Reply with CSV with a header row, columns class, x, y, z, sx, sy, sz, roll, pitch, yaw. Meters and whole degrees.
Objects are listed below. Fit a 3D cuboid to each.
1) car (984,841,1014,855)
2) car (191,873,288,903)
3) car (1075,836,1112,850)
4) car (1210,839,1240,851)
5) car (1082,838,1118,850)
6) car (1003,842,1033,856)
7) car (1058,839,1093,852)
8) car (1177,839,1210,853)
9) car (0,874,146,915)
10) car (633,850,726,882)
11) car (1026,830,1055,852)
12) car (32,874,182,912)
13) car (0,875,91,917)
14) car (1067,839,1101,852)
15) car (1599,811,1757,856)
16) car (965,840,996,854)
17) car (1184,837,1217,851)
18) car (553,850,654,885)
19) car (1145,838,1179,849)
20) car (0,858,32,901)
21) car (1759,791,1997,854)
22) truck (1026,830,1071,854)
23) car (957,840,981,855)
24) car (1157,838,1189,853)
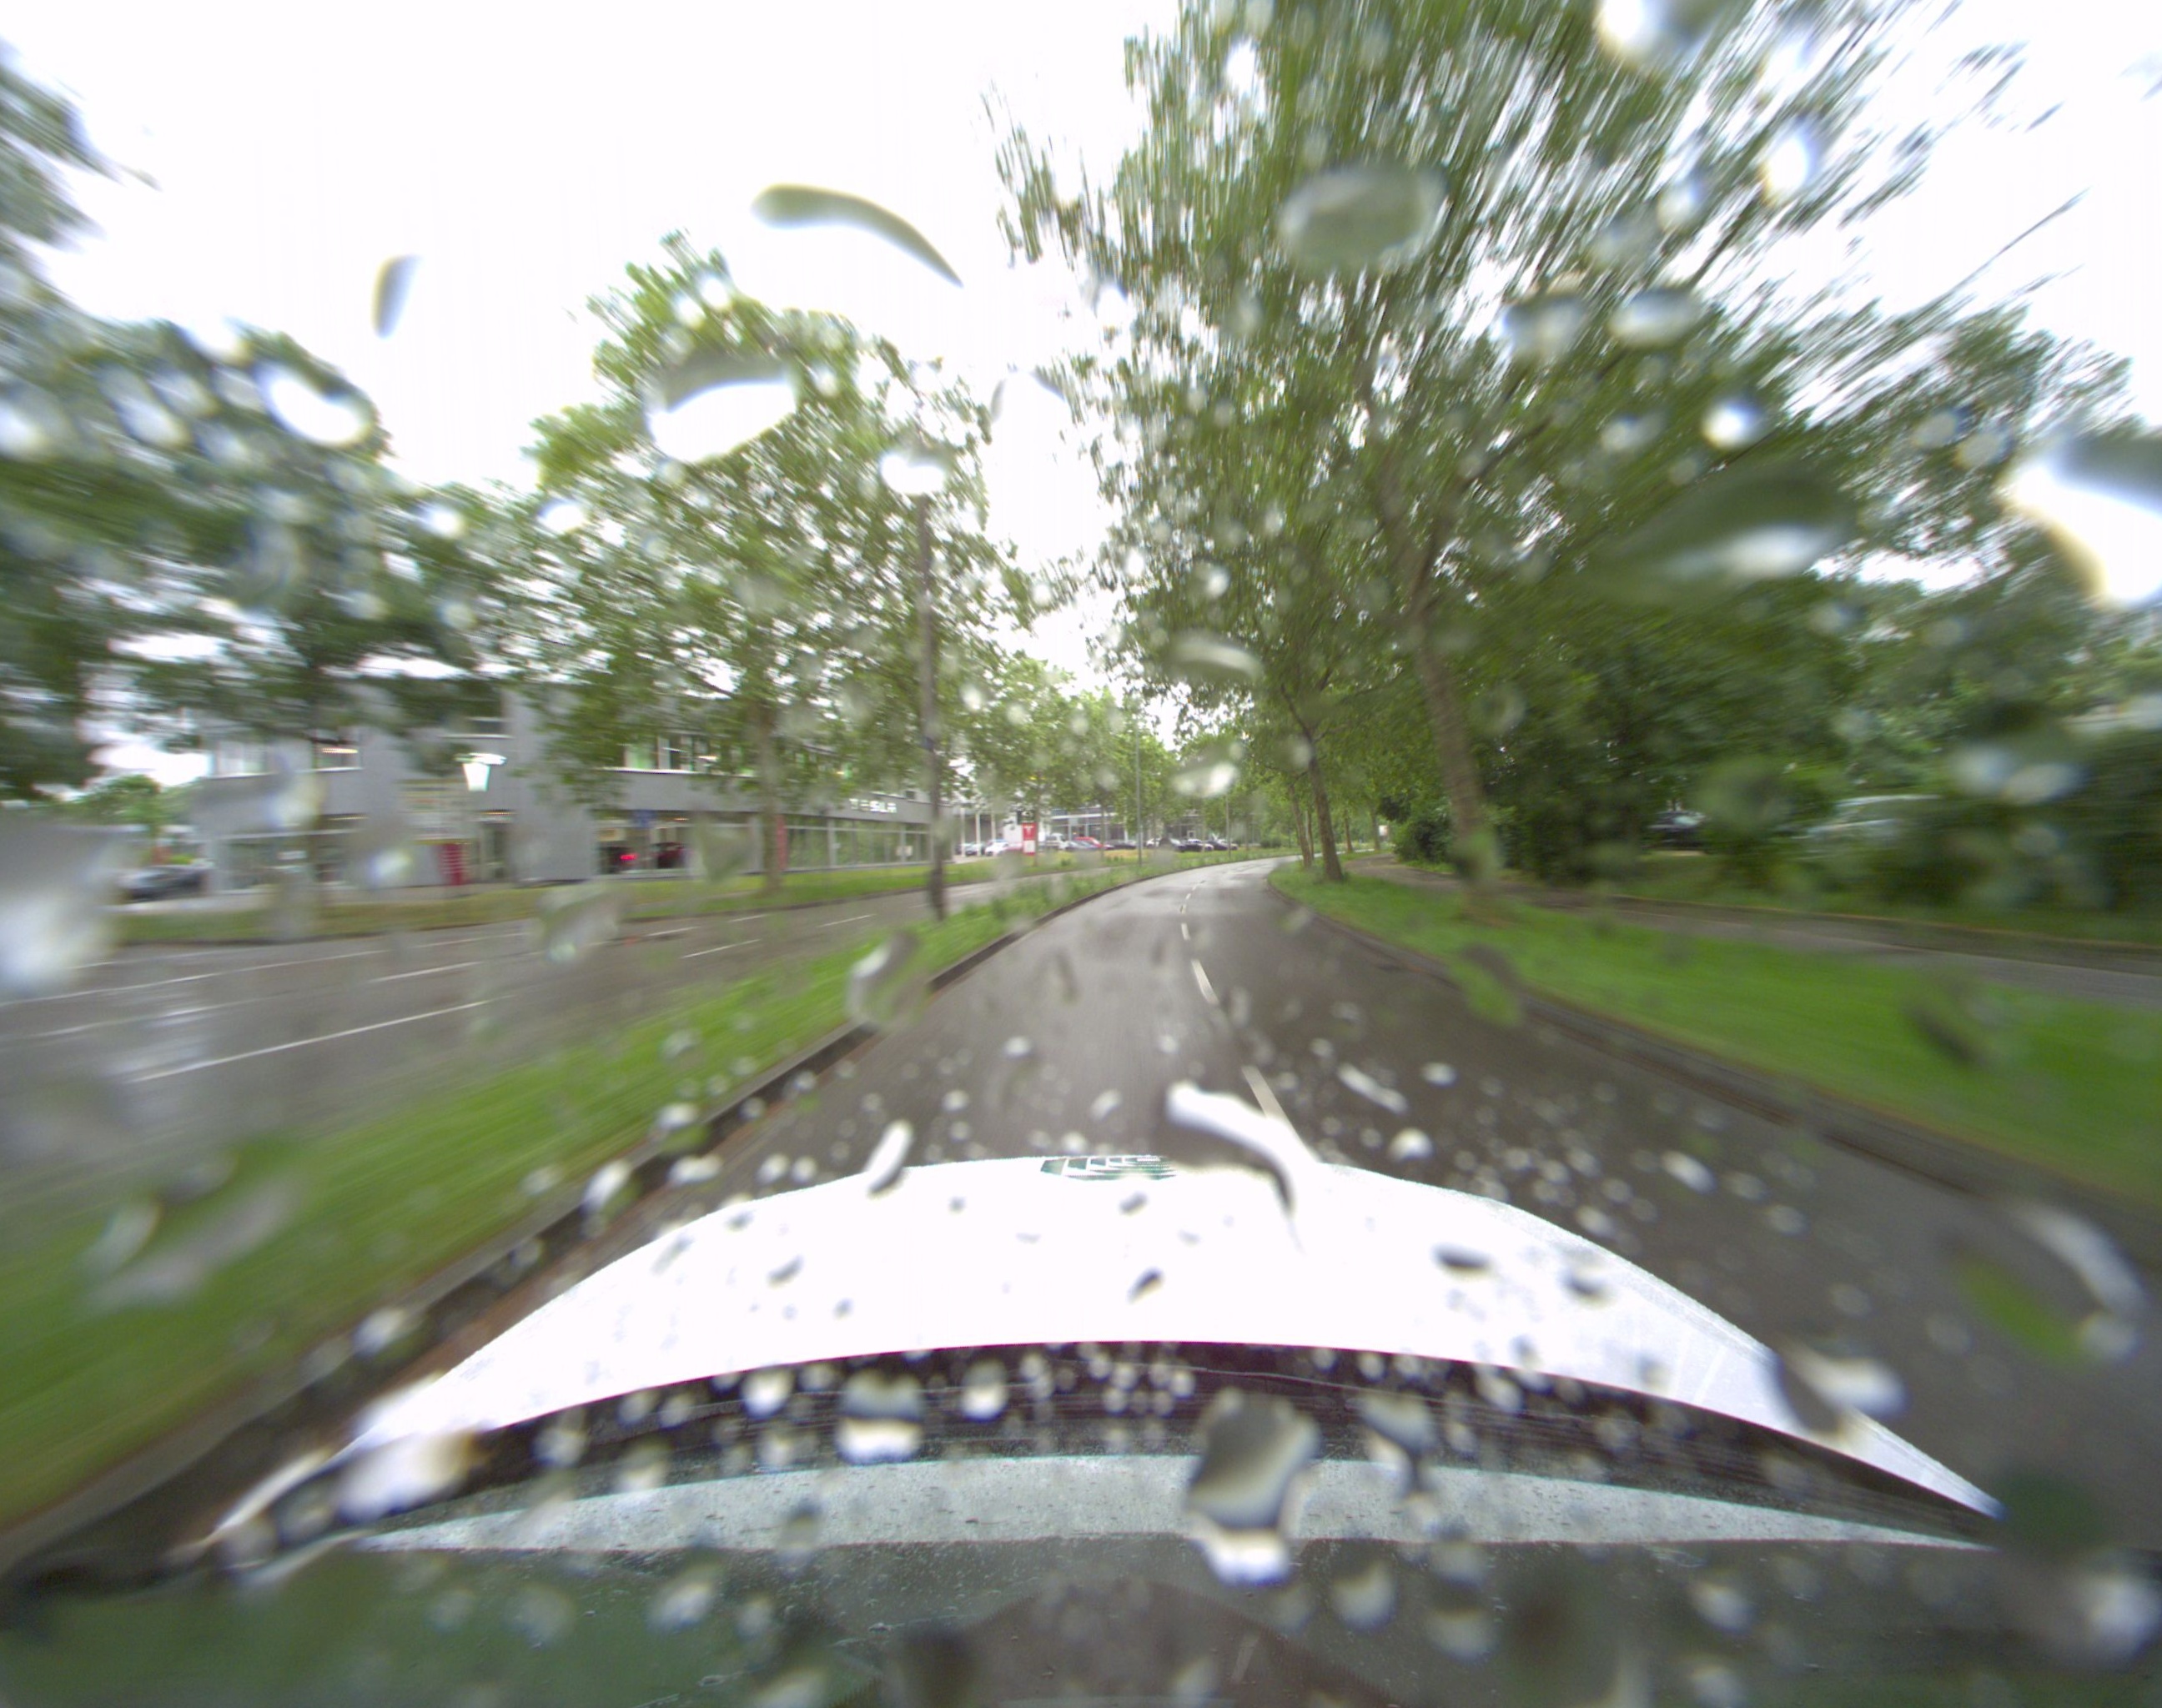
class,x,y,z,sx,sy,sz,roll,pitch,yaw
car,-9.108,-0.724,90.914,1.748,1.396,4.178,0,3,19
car,-45.849,1.847,44.445,3.307,1.494,1.592,-1,0,-11
car,1.439,-1.316,96.897,3.960,1.556,1.858,2,3,25
car,21.667,-1.377,122.542,3.999,1.475,1.775,3,5,-20
car,2.301,-1.242,99.624,3.960,1.357,1.858,2,3,25
car,-6.857,-0.569,89.202,1.748,1.466,4.178,0,3,19
car,-0.590,-0.998,92.281,3.491,1.326,1.779,2,3,25
car,15.607,-1.068,112.982,4.112,1.478,1.845,4,5,-7
car,-42.012,1.659,33.733,4.193,1.494,1.592,-1,0,-11
car,-19.826,0.607,40.198,4.157,1.494,1.606,-1,0,18
car,-5.379,-1.752,106.840,2.173,2.752,5.298,0,1,-23
car,-43.558,1.719,36.508,4.193,1.494,1.592,-1,0,-11
car,-41.407,1.623,31.294,4.193,1.494,1.592,-1,0,-11
car,0.385,-0.992,94.374,3.491,1.326,1.779,2,3,25
car,20.750,-0.714,28.492,4.111,1.482,1.777,0,2,17
car,-11.322,-0.774,91.667,1.748,1.396,4.178,0,3,19
car,16.959,-1.416,115.615,4.122,1.478,1.840,4,5,-15
car,-21.738,0.630,37.092,4.157,1.494,1.606,-1,0,18
car,11.404,-1.455,115.255,4.383,1.473,1.930,-1,1,22
car,-39.993,0.948,28.351,4.193,1.494,1.592,-1,0,-11
car,19.907,-0.789,20.501,4.124,1.482,1.771,-1,2,5
truck,-3.477,-1.364,88.481,2.226,2.344,6.232,2,3,26
car,-14.206,-0.812,102.948,1.823,1.764,4.619,0,1,-23
car,12.371,-1.172,109.990,1.853,1.556,4.396,2,6,-31
